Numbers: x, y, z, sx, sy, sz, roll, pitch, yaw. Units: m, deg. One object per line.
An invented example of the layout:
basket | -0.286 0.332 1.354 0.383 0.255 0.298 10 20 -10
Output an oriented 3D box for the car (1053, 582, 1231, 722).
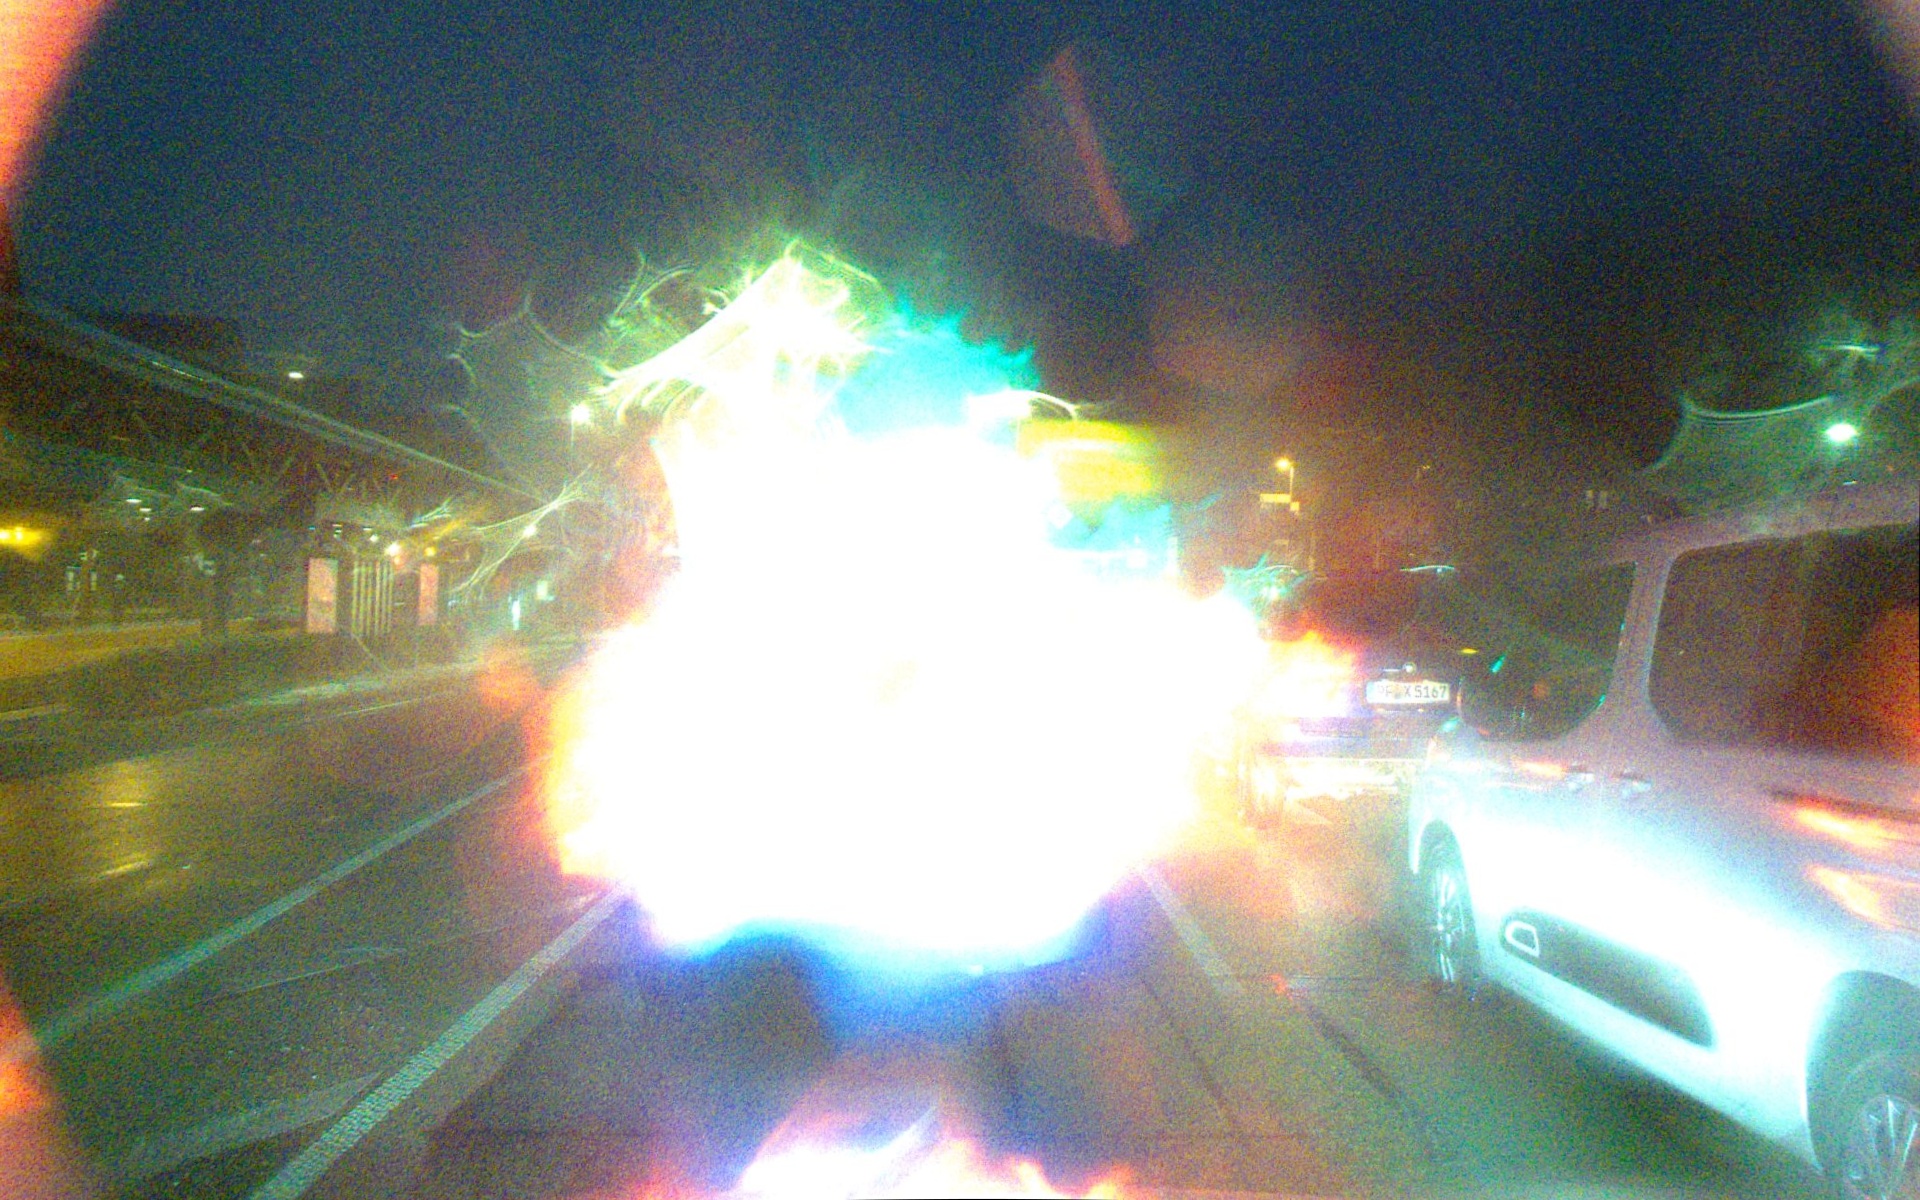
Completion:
car | 2.425 0.670 22.981 1.953 1.748 3.999 1 0 -1

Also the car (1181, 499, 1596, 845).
car | 2.890 0.452 12.117 1.929 2.082 3.999 1 0 -1

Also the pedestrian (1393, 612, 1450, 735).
pedestrian | 6.599 1.039 23.667 0.610 1.731 0.540 1 -1 -3

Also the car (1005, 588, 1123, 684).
car | 1.931 0.656 31.885 1.953 1.699 3.999 1 0 -1

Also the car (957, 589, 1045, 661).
car | 1.025 0.641 43.750 1.954 1.804 3.997 1 0 -4

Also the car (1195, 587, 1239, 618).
car | 14.635 0.151 94.353 1.827 1.675 3.962 -2 0 0

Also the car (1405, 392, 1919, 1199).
car | 2.759 0.563 4.568 1.814 1.897 4.339 1 0 -1

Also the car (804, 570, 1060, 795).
car | -0.246 0.649 14.841 1.953 1.713 3.999 1 0 -1

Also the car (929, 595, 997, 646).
car | 0.055 0.642 53.143 1.821 1.571 3.926 1 0 -5

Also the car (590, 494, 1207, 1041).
car | -0.243 0.560 7.605 1.974 1.747 4.450 1 0 -1

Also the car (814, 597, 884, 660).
car | -3.526 0.875 52.113 1.956 1.856 3.994 1 0 -7
